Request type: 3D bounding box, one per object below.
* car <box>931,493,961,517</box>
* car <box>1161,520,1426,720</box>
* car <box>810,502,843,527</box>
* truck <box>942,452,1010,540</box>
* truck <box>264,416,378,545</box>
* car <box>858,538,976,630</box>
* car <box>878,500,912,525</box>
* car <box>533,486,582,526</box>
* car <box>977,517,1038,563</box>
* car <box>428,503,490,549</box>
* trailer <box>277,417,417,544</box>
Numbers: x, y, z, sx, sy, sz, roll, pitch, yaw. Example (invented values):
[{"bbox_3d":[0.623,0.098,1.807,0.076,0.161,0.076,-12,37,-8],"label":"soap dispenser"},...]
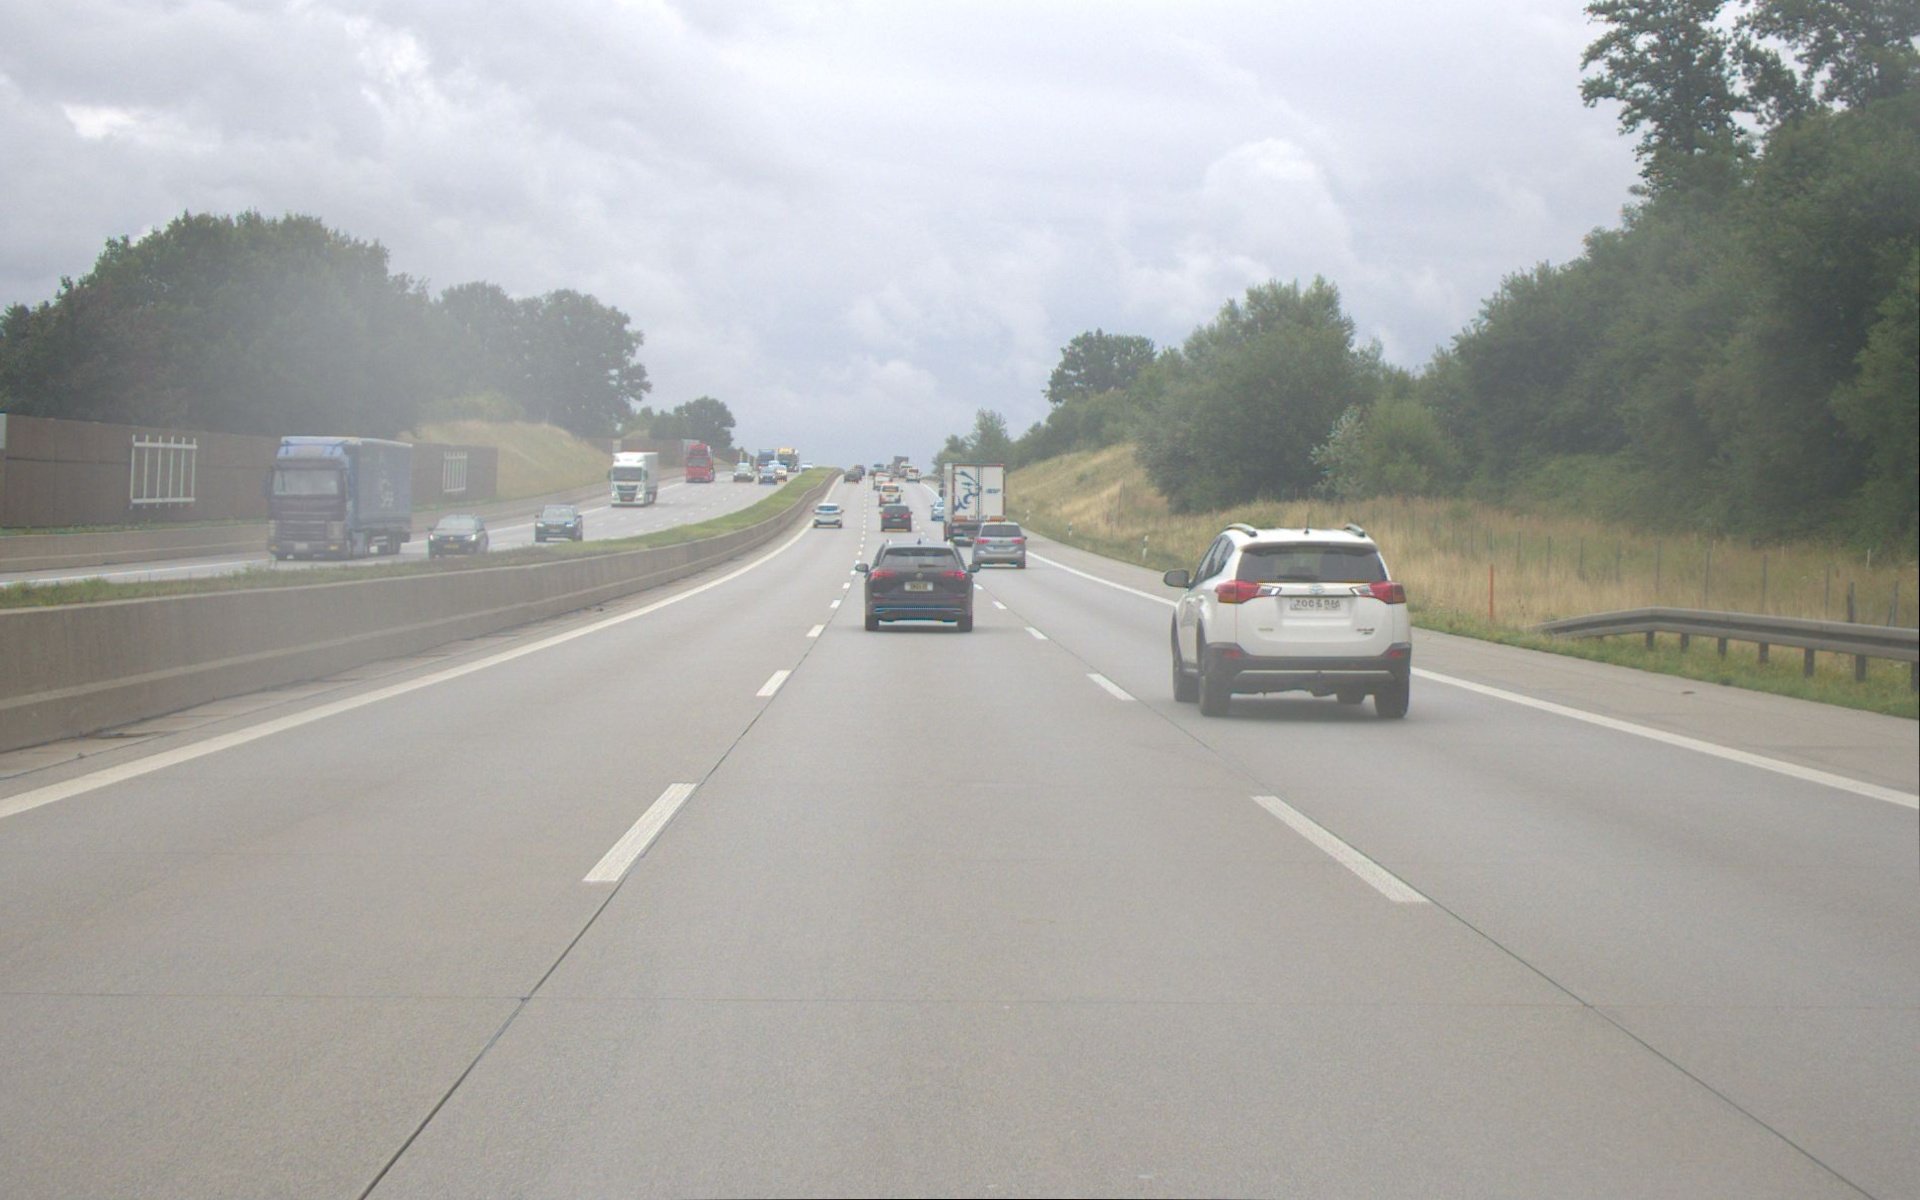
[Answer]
[{"bbox_3d":[-0.982,-6.770,244.957,1.993,1.634,4.000,1,2,1],"label":"car"},{"bbox_3d":[2.919,0.135,30.864,1.825,1.650,3.985,1,1,-2],"label":"car"},{"bbox_3d":[-8.396,-5.383,216.936,1.947,1.351,4.259,0,-1,0],"label":"car"},{"bbox_3d":[0.748,-5.087,168.794,3.017,4.166,8.355,1,2,-1],"label":"truck"},{"bbox_3d":[-21.395,-3.952,115.346,2.691,4.174,6.211,1,1,-1],"label":"truck"},{"bbox_3d":[-0.730,-0.235,55.733,1.752,1.393,4.484,1,0,-2],"label":"car"},{"bbox_3d":[-3.894,-5.268,207.676,1.935,1.370,4.594,1,1,0],"label":"car"},{"bbox_3d":[-18.267,-4.269,156.166,1.816,1.761,4.733,1,1,-2],"label":"car"},{"bbox_3d":[1.629,-2.100,119.946,1.993,1.525,4.000,1,1,-1],"label":"car"},{"bbox_3d":[-17.415,-2.568,119.644,1.636,1.495,4.519,1,0,-3],"label":"car"},{"bbox_3d":[-21.516,-4.116,121.545,2.710,4.194,13.795,1,1,-1],"label":"trailer"}]
